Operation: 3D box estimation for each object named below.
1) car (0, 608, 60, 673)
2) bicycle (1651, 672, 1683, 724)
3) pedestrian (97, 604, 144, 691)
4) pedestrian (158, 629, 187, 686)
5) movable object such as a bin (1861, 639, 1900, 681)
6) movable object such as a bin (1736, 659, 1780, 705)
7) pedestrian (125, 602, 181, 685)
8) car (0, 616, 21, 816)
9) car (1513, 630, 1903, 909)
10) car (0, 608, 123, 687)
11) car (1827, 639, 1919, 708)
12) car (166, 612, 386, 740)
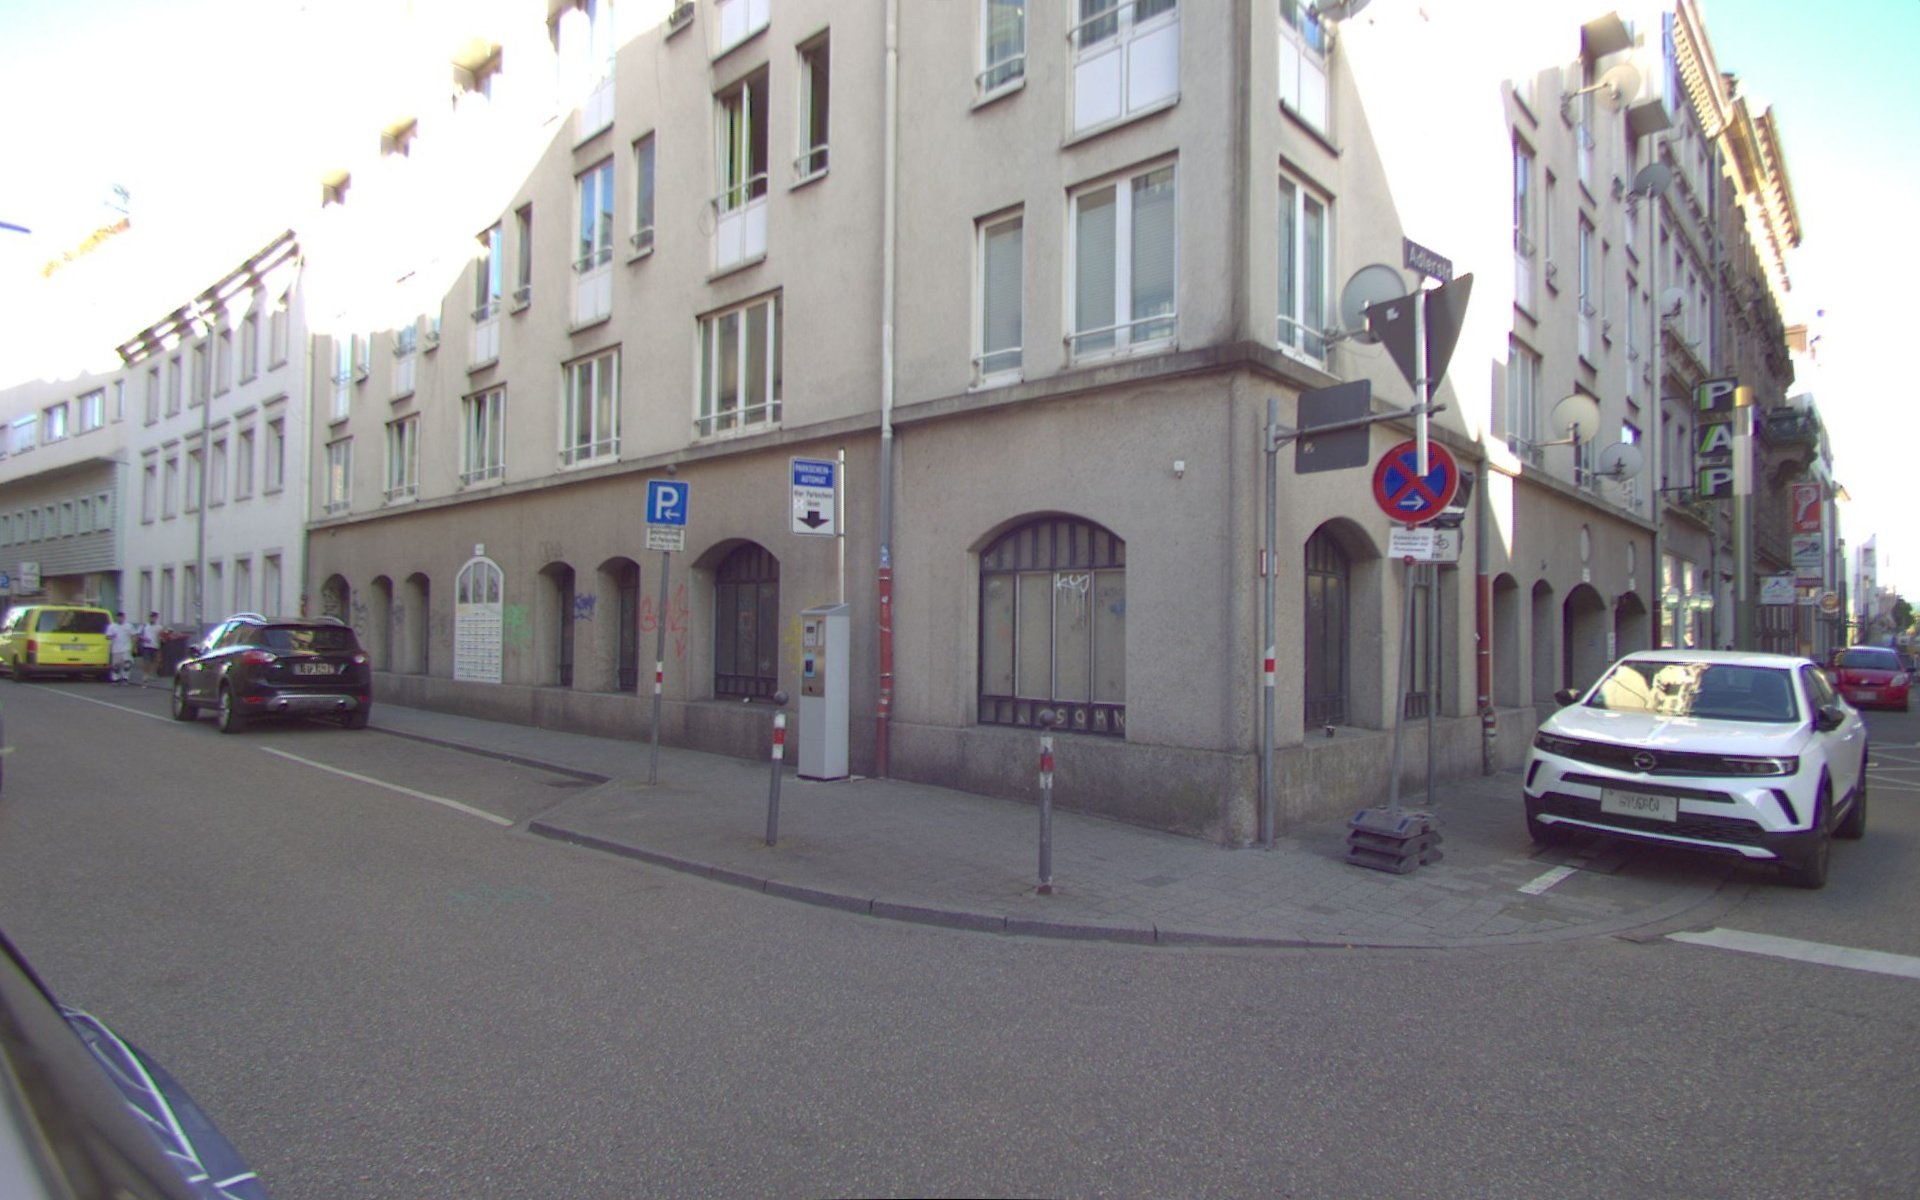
[{"bbox_3d":[-28.161,1.170,29.643,3.994,1.781,1.866,-1,-5,37],"label":"car"},{"bbox_3d":[12.912,1.773,18.475,1.049,0.864,0.219,-1,0,-41],"label":"bicycle"},{"bbox_3d":[-20.149,1.133,24.296,0.698,2.029,0.706,-1,-3,39],"label":"pedestrian"},{"bbox_3d":[-20.512,1.492,26.362,0.548,1.459,0.583,2,-3,-40],"label":"pedestrian"},{"bbox_3d":[35.751,2.311,39.320,1.083,1.555,0.896,0,-1,41],"label":"movable object such as a bin"},{"bbox_3d":[19.801,2.017,25.113,0.837,1.056,0.745,-1,0,39],"label":"movable object such as a bin"},{"bbox_3d":[-20.262,1.093,25.411,0.698,2.029,0.925,-1,-3,39],"label":"pedestrian"},{"bbox_3d":[-9.517,0.910,8.472,3.993,1.558,1.742,-1,-2,37],"label":"car"},{"bbox_3d":[6.001,1.085,7.943,3.908,1.605,1.745,3,-2,-42],"label":"car"},{"bbox_3d":[-23.379,1.207,26.061,3.994,1.888,1.866,-1,-4,37],"label":"car"},{"bbox_3d":[22.918,1.773,25.351,1.793,1.537,3.945,0,-1,41],"label":"car"},{"bbox_3d":[-10.623,1.108,15.625,3.999,1.717,1.863,-1,-4,42],"label":"car"}]
